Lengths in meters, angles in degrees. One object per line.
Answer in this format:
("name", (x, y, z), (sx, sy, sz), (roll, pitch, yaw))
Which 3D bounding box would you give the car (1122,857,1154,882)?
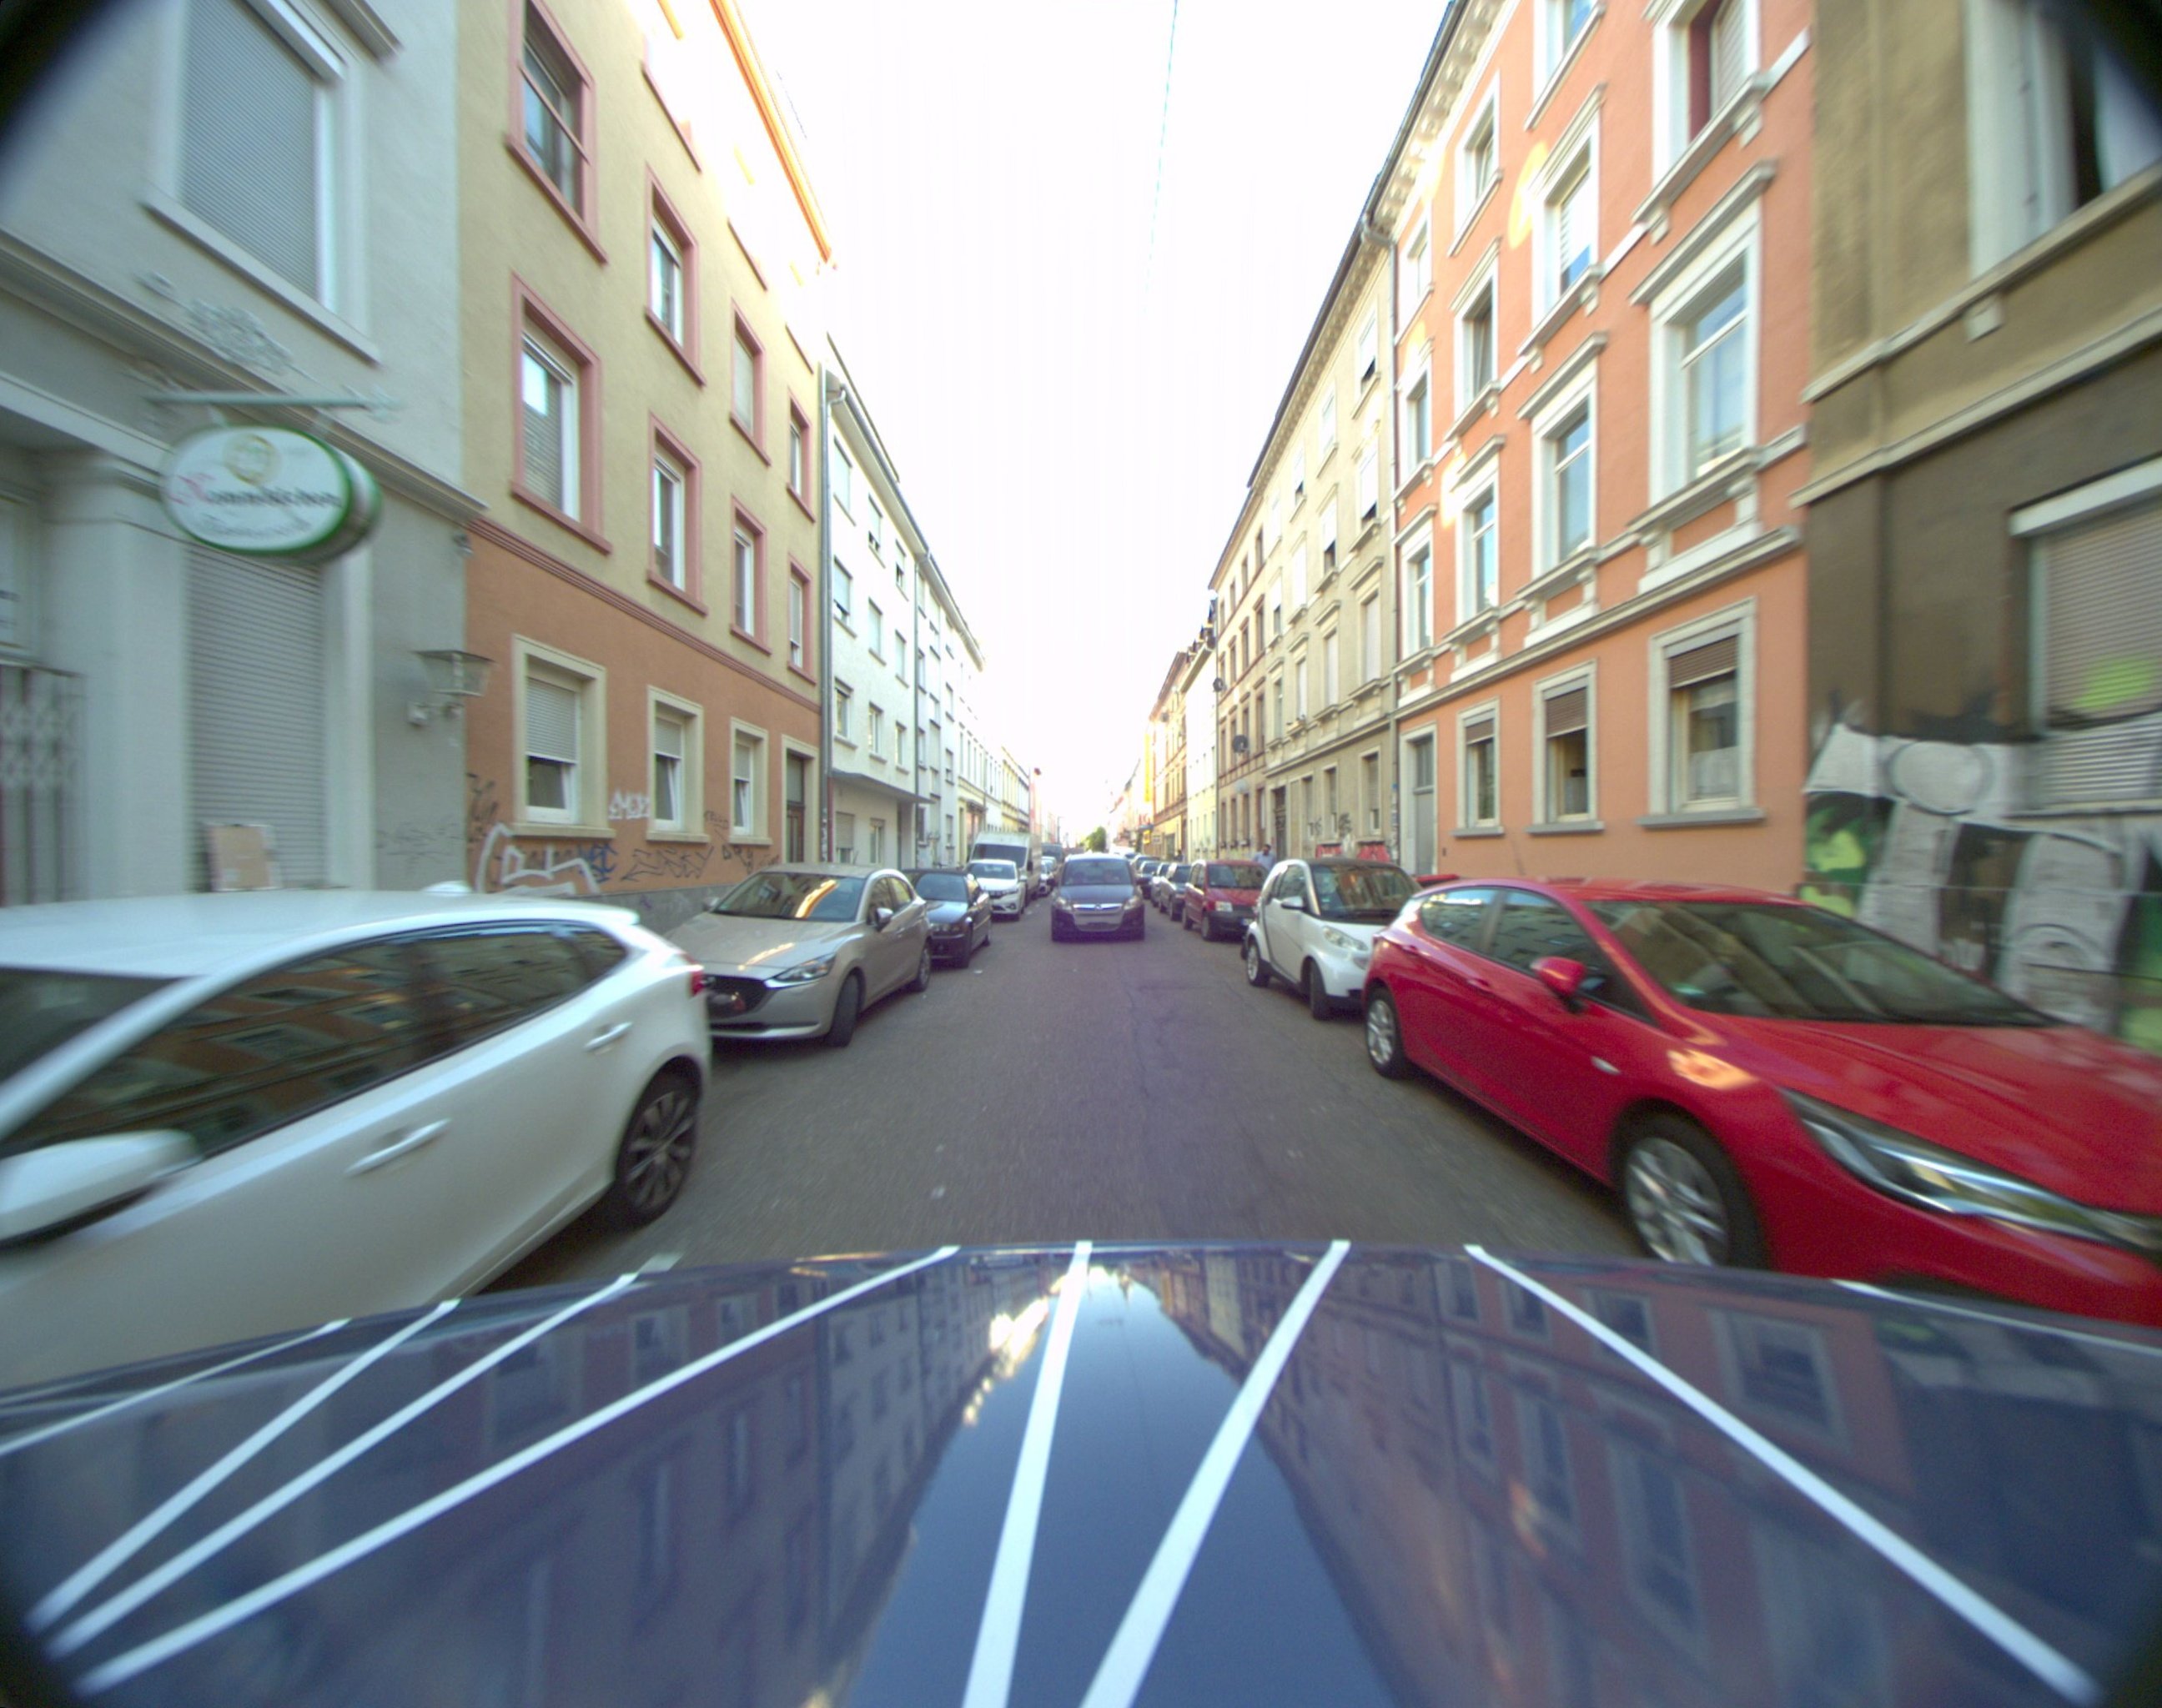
("car", (3.378, 0.917, 45.846), (1.683, 1.407, 3.860), (0, 0, 1))

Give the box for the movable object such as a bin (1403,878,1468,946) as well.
("movable object such as a bin", (5.828, 0.949, 12.540), (0.779, 1.043, 0.662), (-3, 0, 9))

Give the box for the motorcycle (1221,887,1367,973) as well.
("motorcycle", (3.286, 1.131, 11.732), (2.083, 1.121, 0.789), (-2, 1, -21))

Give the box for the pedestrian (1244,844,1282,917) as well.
("pedestrian", (4.696, 0.675, 19.586), (0.790, 1.820, 0.594), (-2, 1, 1))

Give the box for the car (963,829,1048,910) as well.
("car", (-2.505, 0.471, 26.949), (2.049, 2.498, 6.024), (-2, 0, 3))

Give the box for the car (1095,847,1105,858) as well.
("car", (5.425, -0.335, 214.452), (2.565, 3.029, 7.061), (-2, 0, 0))

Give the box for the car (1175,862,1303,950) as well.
("car", (2.986, 0.926, 15.044), (1.683, 1.483, 3.611), (0, 0, -2))

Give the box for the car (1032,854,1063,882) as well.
("car", (-2.037, 0.848, 47.255), (1.683, 1.626, 3.860), (-2, 0, 0))

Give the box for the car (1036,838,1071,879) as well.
("car", (-1.877, 0.319, 53.423), (2.050, 2.662, 6.185), (-2, 0, 1))

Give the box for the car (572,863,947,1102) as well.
("car", (-2.653, 0.940, 7.474), (1.683, 1.588, 4.191), (-2, 0, 3))

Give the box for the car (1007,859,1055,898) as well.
("car", (-2.035, 0.992, 31.980), (1.683, 1.434, 3.860), (-2, 0, 1))

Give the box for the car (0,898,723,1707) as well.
("car", (-2.679, 1.004, 1.754), (1.683, 1.501, 4.190), (-2, 0, 0))

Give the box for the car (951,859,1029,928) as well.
("car", (-2.304, 0.957, 20.027), (1.684, 1.550, 3.859), (-2, 0, -2))

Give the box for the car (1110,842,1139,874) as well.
("car", (3.591, 0.319, 63.880), (2.094, 2.576, 5.842), (0, 0, 0))

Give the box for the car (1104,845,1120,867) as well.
("car", (3.415, 0.196, 85.195), (1.683, 2.352, 4.098), (0, 0, 1))

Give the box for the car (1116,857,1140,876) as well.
("car", (3.532, 0.923, 57.787), (1.683, 1.381, 3.860), (0, 0, 1))

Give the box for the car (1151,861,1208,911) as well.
("car", (3.148, 0.984, 24.945), (1.682, 1.454, 3.861), (0, 0, 5))

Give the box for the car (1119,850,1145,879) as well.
("car", (3.488, 0.709, 52.563), (1.751, 1.880, 4.772), (0, 0, 3))

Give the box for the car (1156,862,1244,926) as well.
("car", (3.007, 0.963, 19.958), (1.683, 1.454, 4.313), (0, 0, 1))

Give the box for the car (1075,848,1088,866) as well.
("car", (0.150, 0.639, 149.180), (2.437, 3.404, 5.543), (-2, 0, 0))

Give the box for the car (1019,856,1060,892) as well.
("car", (-1.959, 0.931, 36.807), (1.683, 1.556, 3.860), (-2, 0, 1))

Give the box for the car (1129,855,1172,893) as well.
("car", (3.148, 0.872, 35.111), (1.683, 1.674, 3.860), (0, 0, 1))

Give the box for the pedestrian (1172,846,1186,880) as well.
("pedestrian", (5.369, 0.508, 41.695), (0.626, 1.820, 0.594), (-2, 1, 2))

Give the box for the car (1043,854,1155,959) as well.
("car", (0.298, 0.864, 15.076), (1.798, 1.652, 5.184), (-2, 0, 0))

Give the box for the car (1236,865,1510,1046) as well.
("car", (2.892, 0.924, 8.202), (1.684, 1.540, 2.959), (1, 0, -3))

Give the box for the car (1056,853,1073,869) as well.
("car", (-1.760, 0.764, 80.749), (1.683, 1.588, 3.860), (-2, 0, 0))

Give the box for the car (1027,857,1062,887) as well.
("car", (-1.989, 0.948, 41.970), (1.683, 1.511, 3.860), (-2, 0, 0))

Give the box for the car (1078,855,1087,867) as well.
("car", (0.298, 1.269, 142.300), (1.683, 2.077, 4.159), (-2, 0, 0))

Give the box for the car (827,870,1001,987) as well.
("car", (-2.433, 1.027, 12.242), (1.772, 1.386, 4.494), (-2, 0, 0))

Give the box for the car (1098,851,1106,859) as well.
("car", (5.087, 0.342, 184.364), (1.683, 1.851, 4.159), (-2, 0, 0))

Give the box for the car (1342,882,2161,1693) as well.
("car", (2.860, 0.975, 3.636), (1.683, 1.465, 4.202), (2, 0, -1))

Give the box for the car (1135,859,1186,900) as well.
("car", (3.099, 0.965, 30.154), (1.683, 1.454, 3.860), (0, 0, 1))
